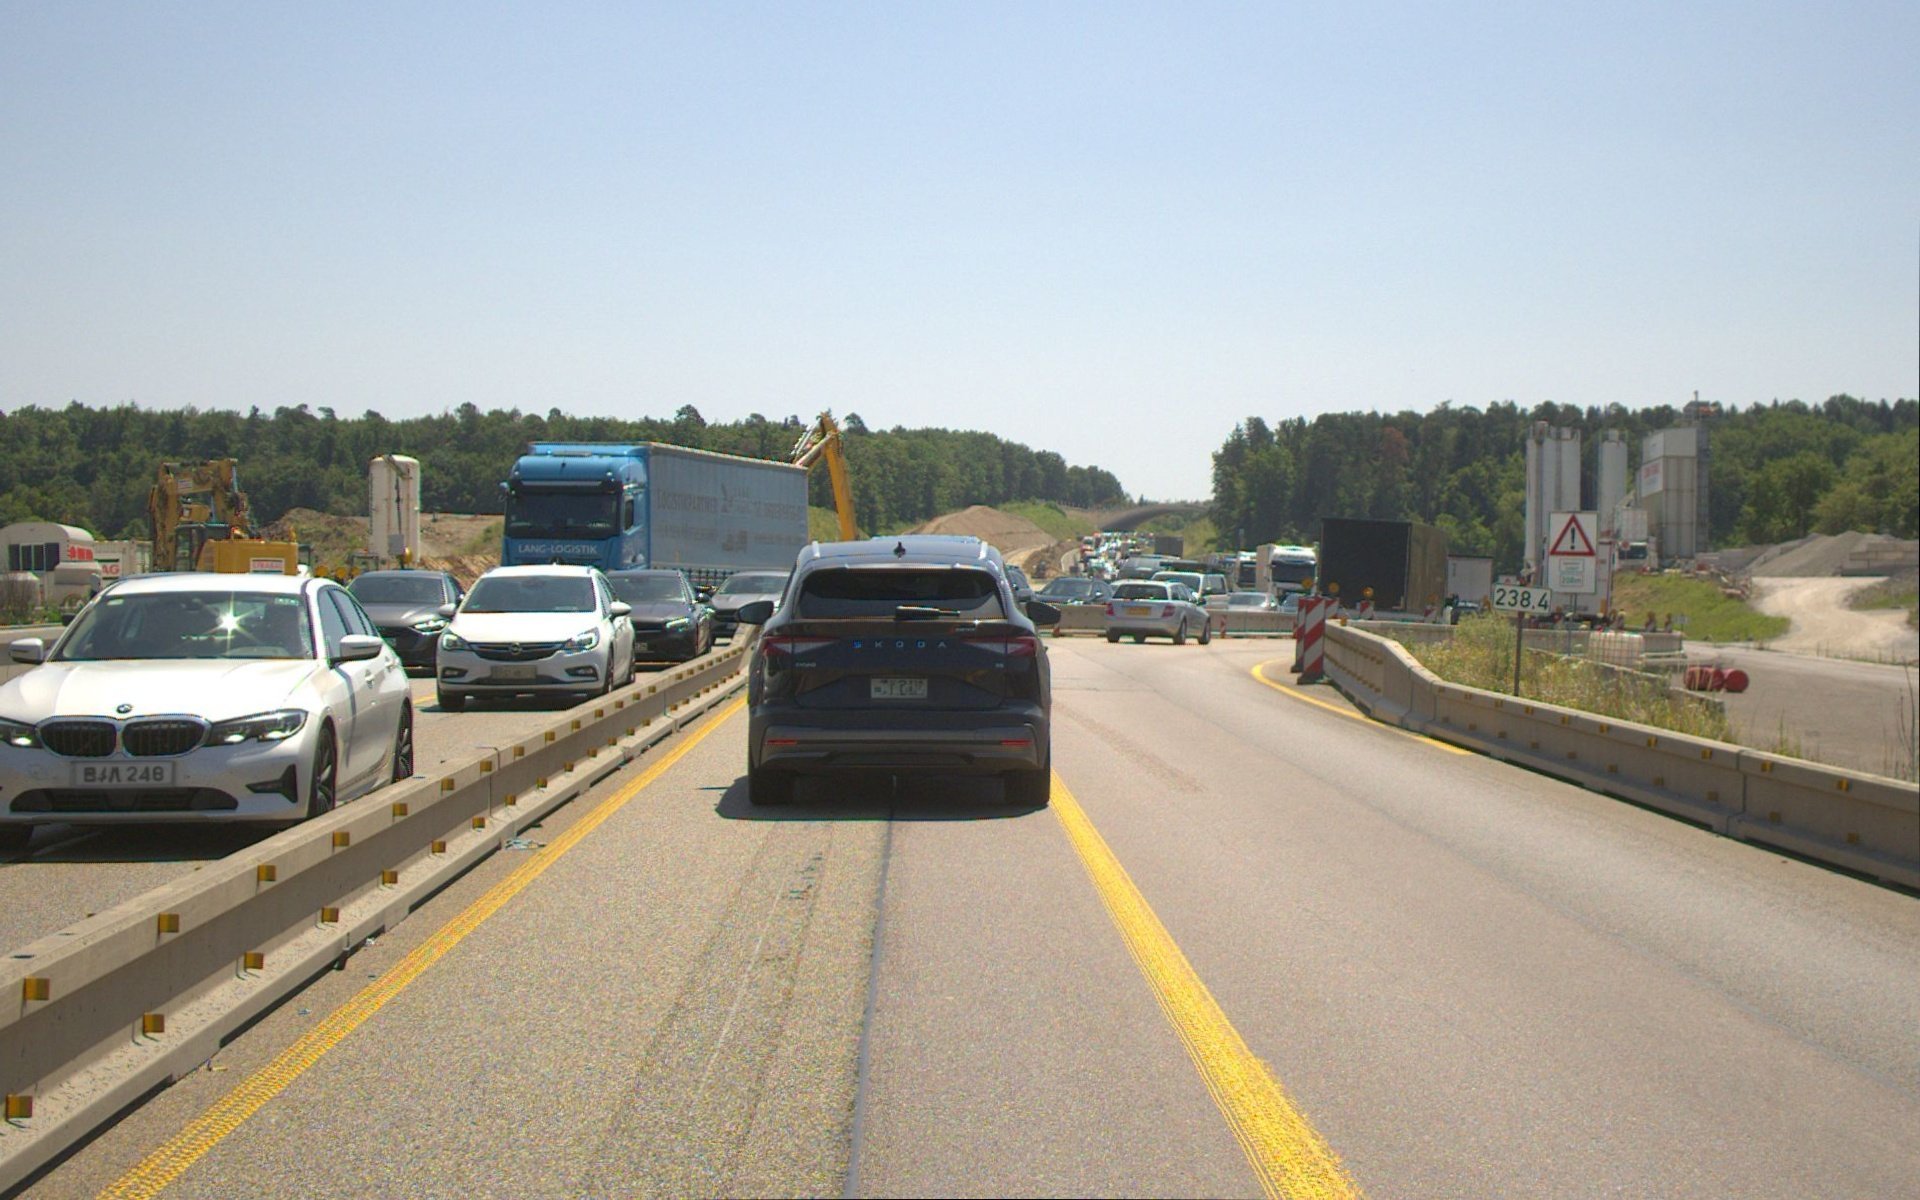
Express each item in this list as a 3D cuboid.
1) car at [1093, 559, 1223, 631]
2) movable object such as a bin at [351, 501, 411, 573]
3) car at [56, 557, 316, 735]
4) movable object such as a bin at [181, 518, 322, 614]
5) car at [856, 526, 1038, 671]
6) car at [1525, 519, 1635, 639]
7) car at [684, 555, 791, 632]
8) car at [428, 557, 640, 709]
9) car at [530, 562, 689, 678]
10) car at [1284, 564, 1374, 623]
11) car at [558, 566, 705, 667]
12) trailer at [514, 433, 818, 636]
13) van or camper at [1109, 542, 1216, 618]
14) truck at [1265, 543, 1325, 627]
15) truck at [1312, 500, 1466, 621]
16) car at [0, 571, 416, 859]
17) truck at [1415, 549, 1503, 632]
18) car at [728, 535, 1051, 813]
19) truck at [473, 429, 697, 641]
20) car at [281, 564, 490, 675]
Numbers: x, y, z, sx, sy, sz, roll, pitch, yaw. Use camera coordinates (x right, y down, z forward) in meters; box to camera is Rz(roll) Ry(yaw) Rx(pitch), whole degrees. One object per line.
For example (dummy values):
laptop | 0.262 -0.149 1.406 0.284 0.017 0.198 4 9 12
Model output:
car | 4.615 -0.148 79.360 2.047 1.521 5.063 1 2 15
movable object such as a bin | -27.308 -3.002 162.102 2.421 3.115 5.483 5 1 -11
car | -7.660 0.408 34.372 1.767 1.592 4.001 0 2 -1
movable object such as a bin | -21.906 -1.055 106.291 2.871 2.718 3.361 3 1 -40
car | -0.131 -0.039 47.241 1.994 1.837 3.999 2 1 6
car | 23.448 -0.767 129.622 3.438 4.087 9.192 5 1 12
car | -4.311 -0.151 67.058 1.589 1.436 4.124 -1 1 3
car | -4.486 0.307 36.773 1.734 1.473 4.520 -1 1 -1
car | -4.670 0.226 46.362 1.773 1.423 4.771 -1 1 -2
car | 11.002 -0.188 102.320 1.823 1.638 3.862 2 0 19
car | -5.222 0.231 55.133 2.016 1.439 4.588 0 2 -1
trailer | -6.284 -1.385 76.862 2.915 4.115 13.909 1 0 11
van or camper | 7.018 -0.668 118.530 2.100 2.533 6.299 0 0 19
truck | 17.378 -0.785 178.586 2.771 4.245 6.198 2 0 4
truck | 10.899 -0.958 86.924 2.676 2.936 5.614 1 0 20
car | -4.247 0.556 19.230 1.816 1.371 4.248 0 1 -1
truck | 28.131 -0.622 194.318 3.476 4.206 10.376 6 1 3
car | -0.406 0.389 21.743 1.842 1.576 4.000 0 1 0
truck | -7.574 -1.302 70.215 2.915 4.115 6.136 1 0 10
car | -7.899 0.232 47.678 1.993 1.394 4.580 1 1 1
